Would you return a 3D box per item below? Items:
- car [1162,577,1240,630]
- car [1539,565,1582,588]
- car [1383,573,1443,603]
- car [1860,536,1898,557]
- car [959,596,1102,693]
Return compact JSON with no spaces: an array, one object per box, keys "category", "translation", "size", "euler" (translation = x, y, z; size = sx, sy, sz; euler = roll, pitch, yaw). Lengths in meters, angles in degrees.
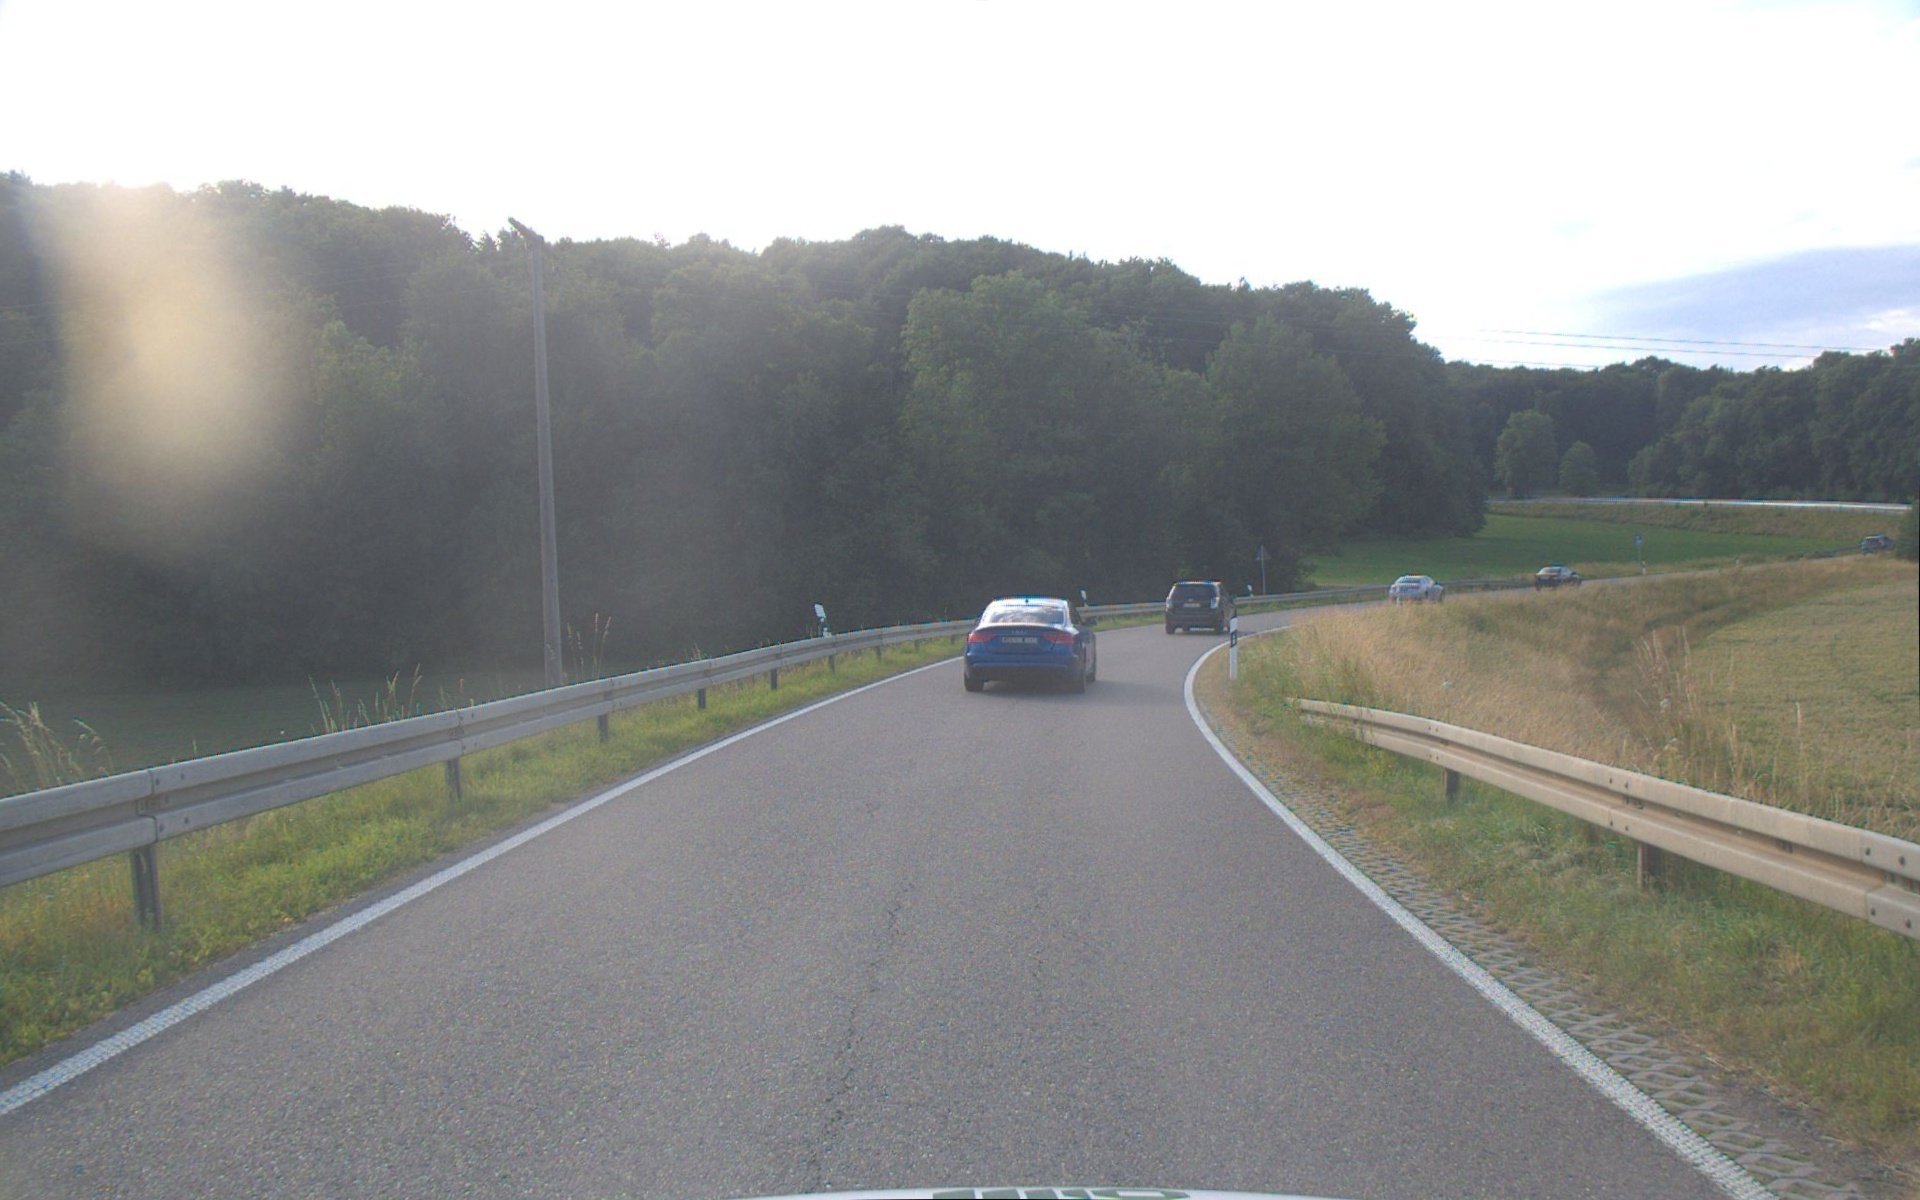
[{"category":"car","translation":[7.614,0.081,52.033],"size":[1.822,1.596,4.002],"euler":[-1,0,17]},{"category":"car","translation":[37.578,-1.501,103.430],"size":[1.449,1.248,3.283],"euler":[-3,1,40]},{"category":"car","translation":[23.357,-0.634,85.189],"size":[1.654,1.400,3.986],"euler":[-3,0,36]},{"category":"car","translation":[81.261,-4.745,146.255],"size":[1.966,1.708,4.152],"euler":[0,2,43]},{"category":"car","translation":[1.182,0.635,25.624],"size":[1.779,1.362,4.353],"euler":[0,0,8]}]
